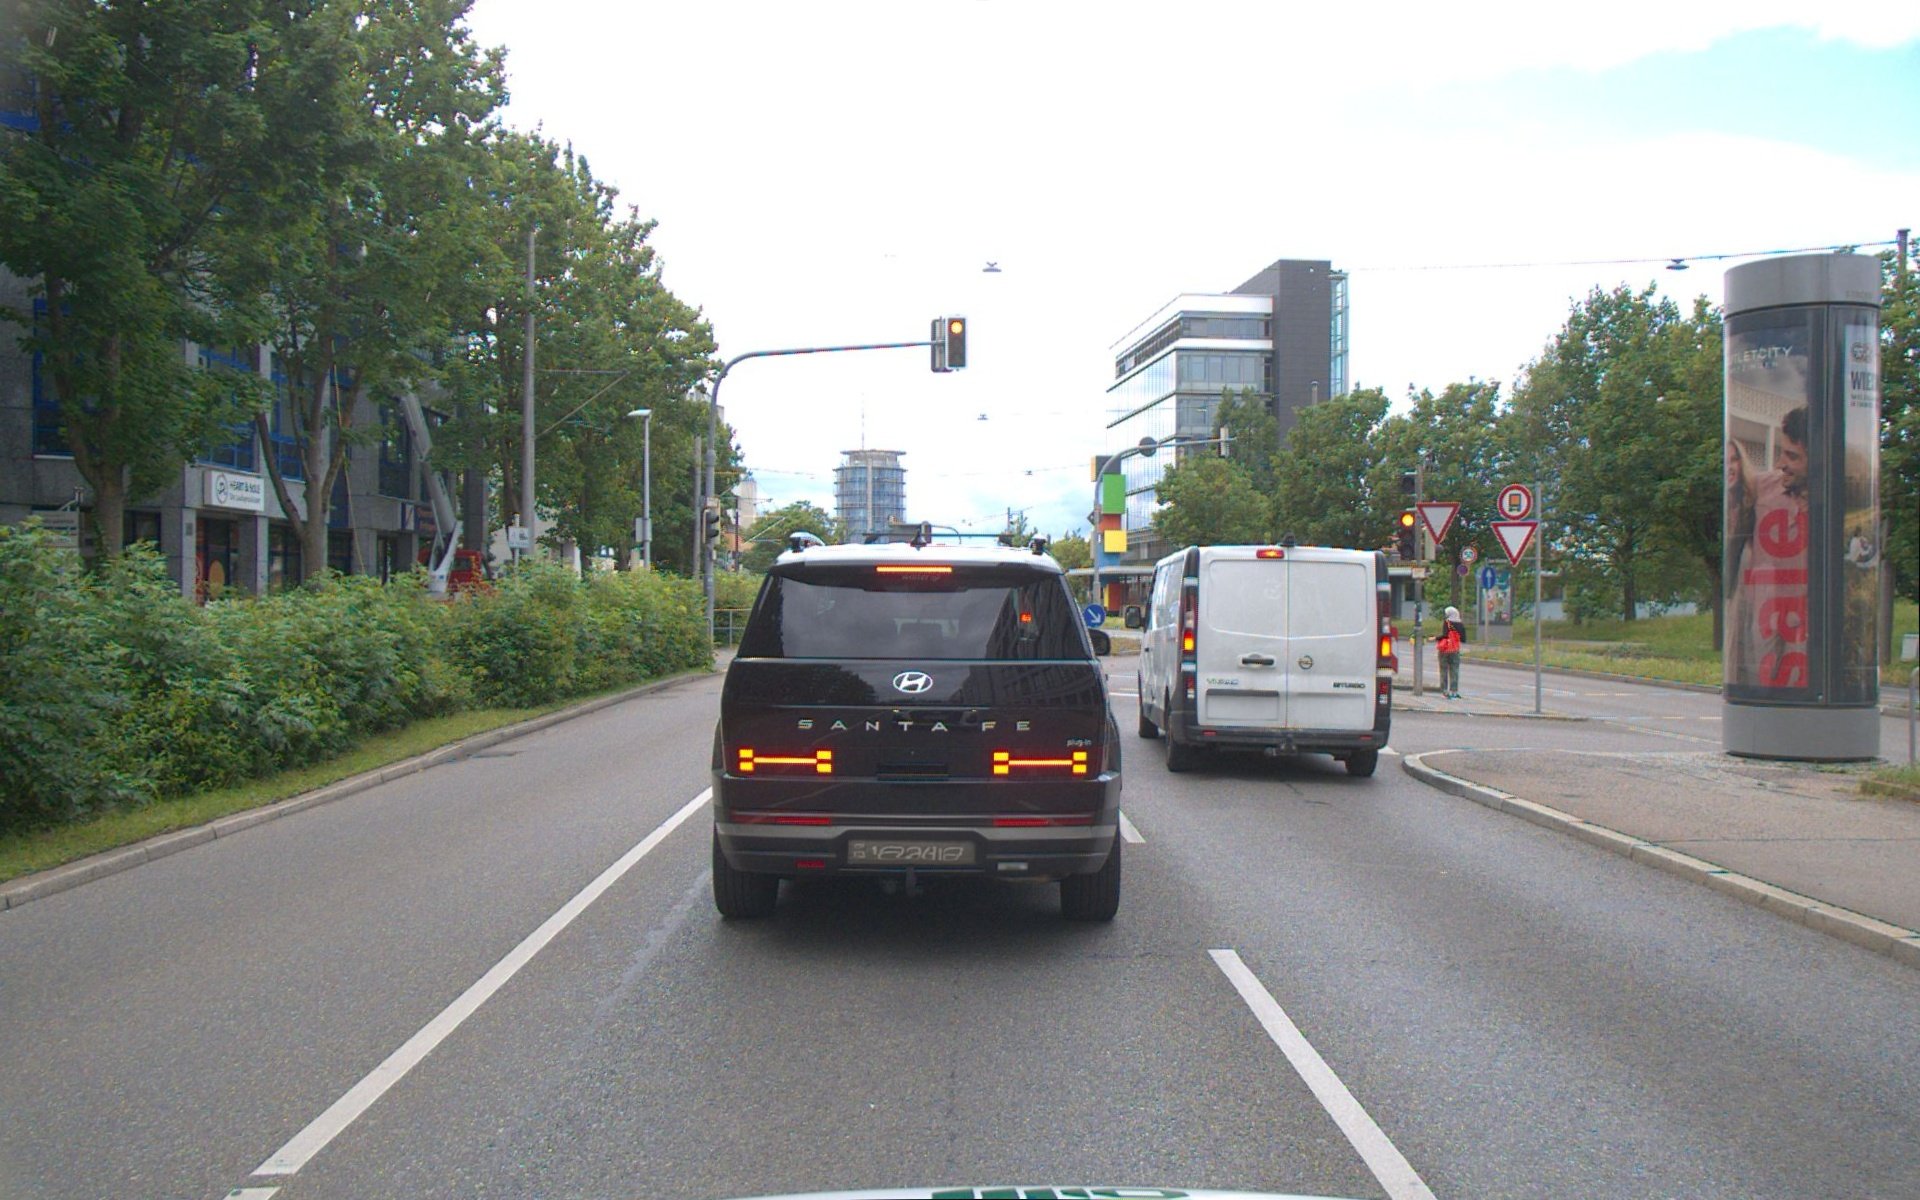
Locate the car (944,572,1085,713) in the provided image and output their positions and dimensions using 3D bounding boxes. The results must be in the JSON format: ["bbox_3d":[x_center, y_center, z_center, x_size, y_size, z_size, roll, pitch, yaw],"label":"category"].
[{"bbox_3d":[0.713,0.544,22.822,1.739,1.747,4.339,1,0,1],"label":"car"}]

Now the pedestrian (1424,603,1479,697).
[{"bbox_3d":[8.684,0.878,29.225,0.733,1.612,0.565,2,0,-41],"label":"pedestrian"}]

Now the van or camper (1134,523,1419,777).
[{"bbox_3d":[2.826,0.399,15.841,1.952,2.049,4.653,1,0,2],"label":"van or camper"}]

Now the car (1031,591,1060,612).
[{"bbox_3d":[6.911,0.121,134.428,1.954,1.713,3.997,1,0,-3],"label":"car"}]

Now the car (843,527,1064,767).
[{"bbox_3d":[-0.087,0.387,15.998,1.876,2.038,3.879,0,0,-1],"label":"car"}]

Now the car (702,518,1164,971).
[{"bbox_3d":[-0.130,0.562,8.503,1.831,1.791,3.879,0,0,-1],"label":"car"}]

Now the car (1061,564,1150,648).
[{"bbox_3d":[3.718,0.161,42.909,1.952,2.049,4.000,1,0,0],"label":"car"}]
